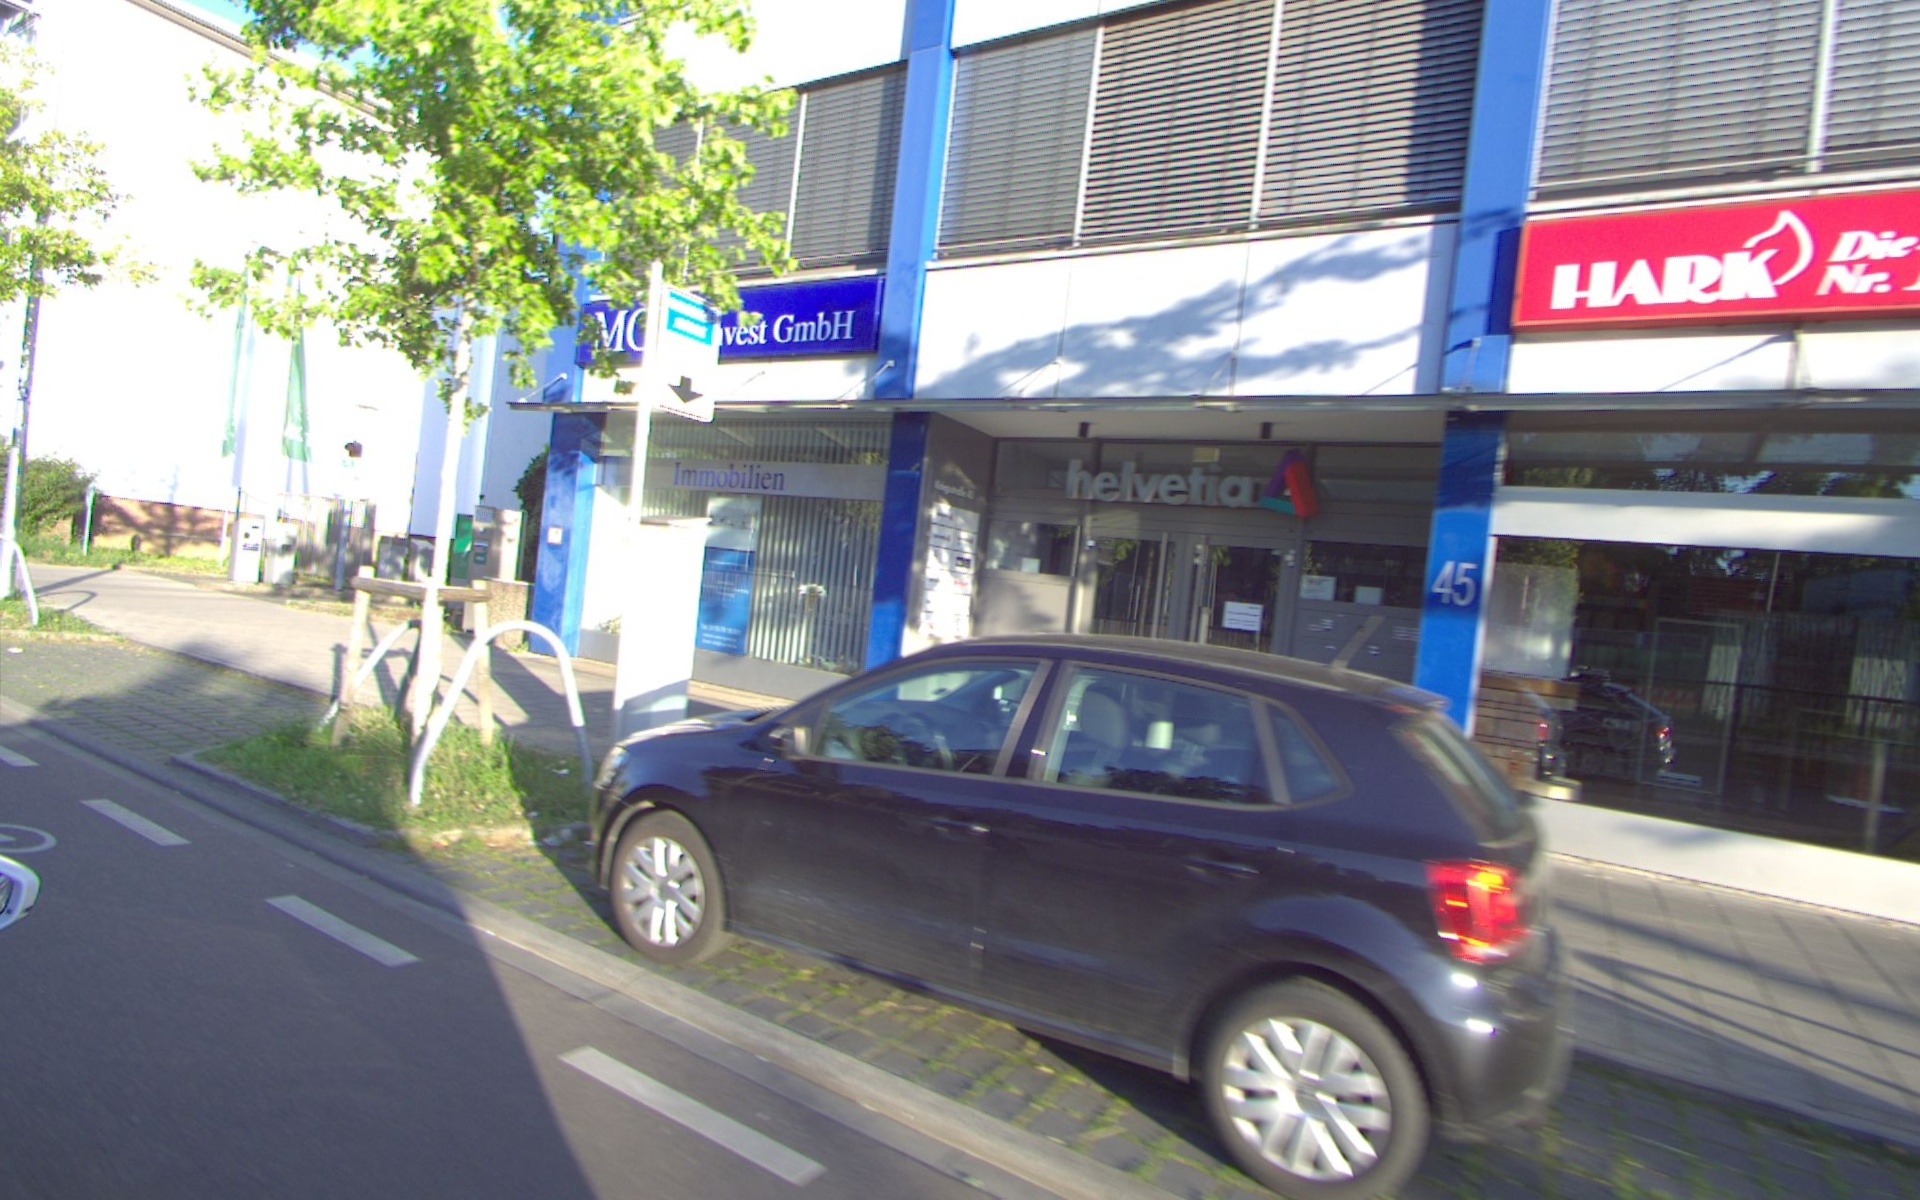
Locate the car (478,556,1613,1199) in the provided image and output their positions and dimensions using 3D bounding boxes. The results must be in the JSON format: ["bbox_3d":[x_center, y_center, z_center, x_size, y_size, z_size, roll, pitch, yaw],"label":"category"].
[{"bbox_3d":[0.148,0.785,4.185,4.058,1.473,1.821,7,1,30],"label":"car"}]
